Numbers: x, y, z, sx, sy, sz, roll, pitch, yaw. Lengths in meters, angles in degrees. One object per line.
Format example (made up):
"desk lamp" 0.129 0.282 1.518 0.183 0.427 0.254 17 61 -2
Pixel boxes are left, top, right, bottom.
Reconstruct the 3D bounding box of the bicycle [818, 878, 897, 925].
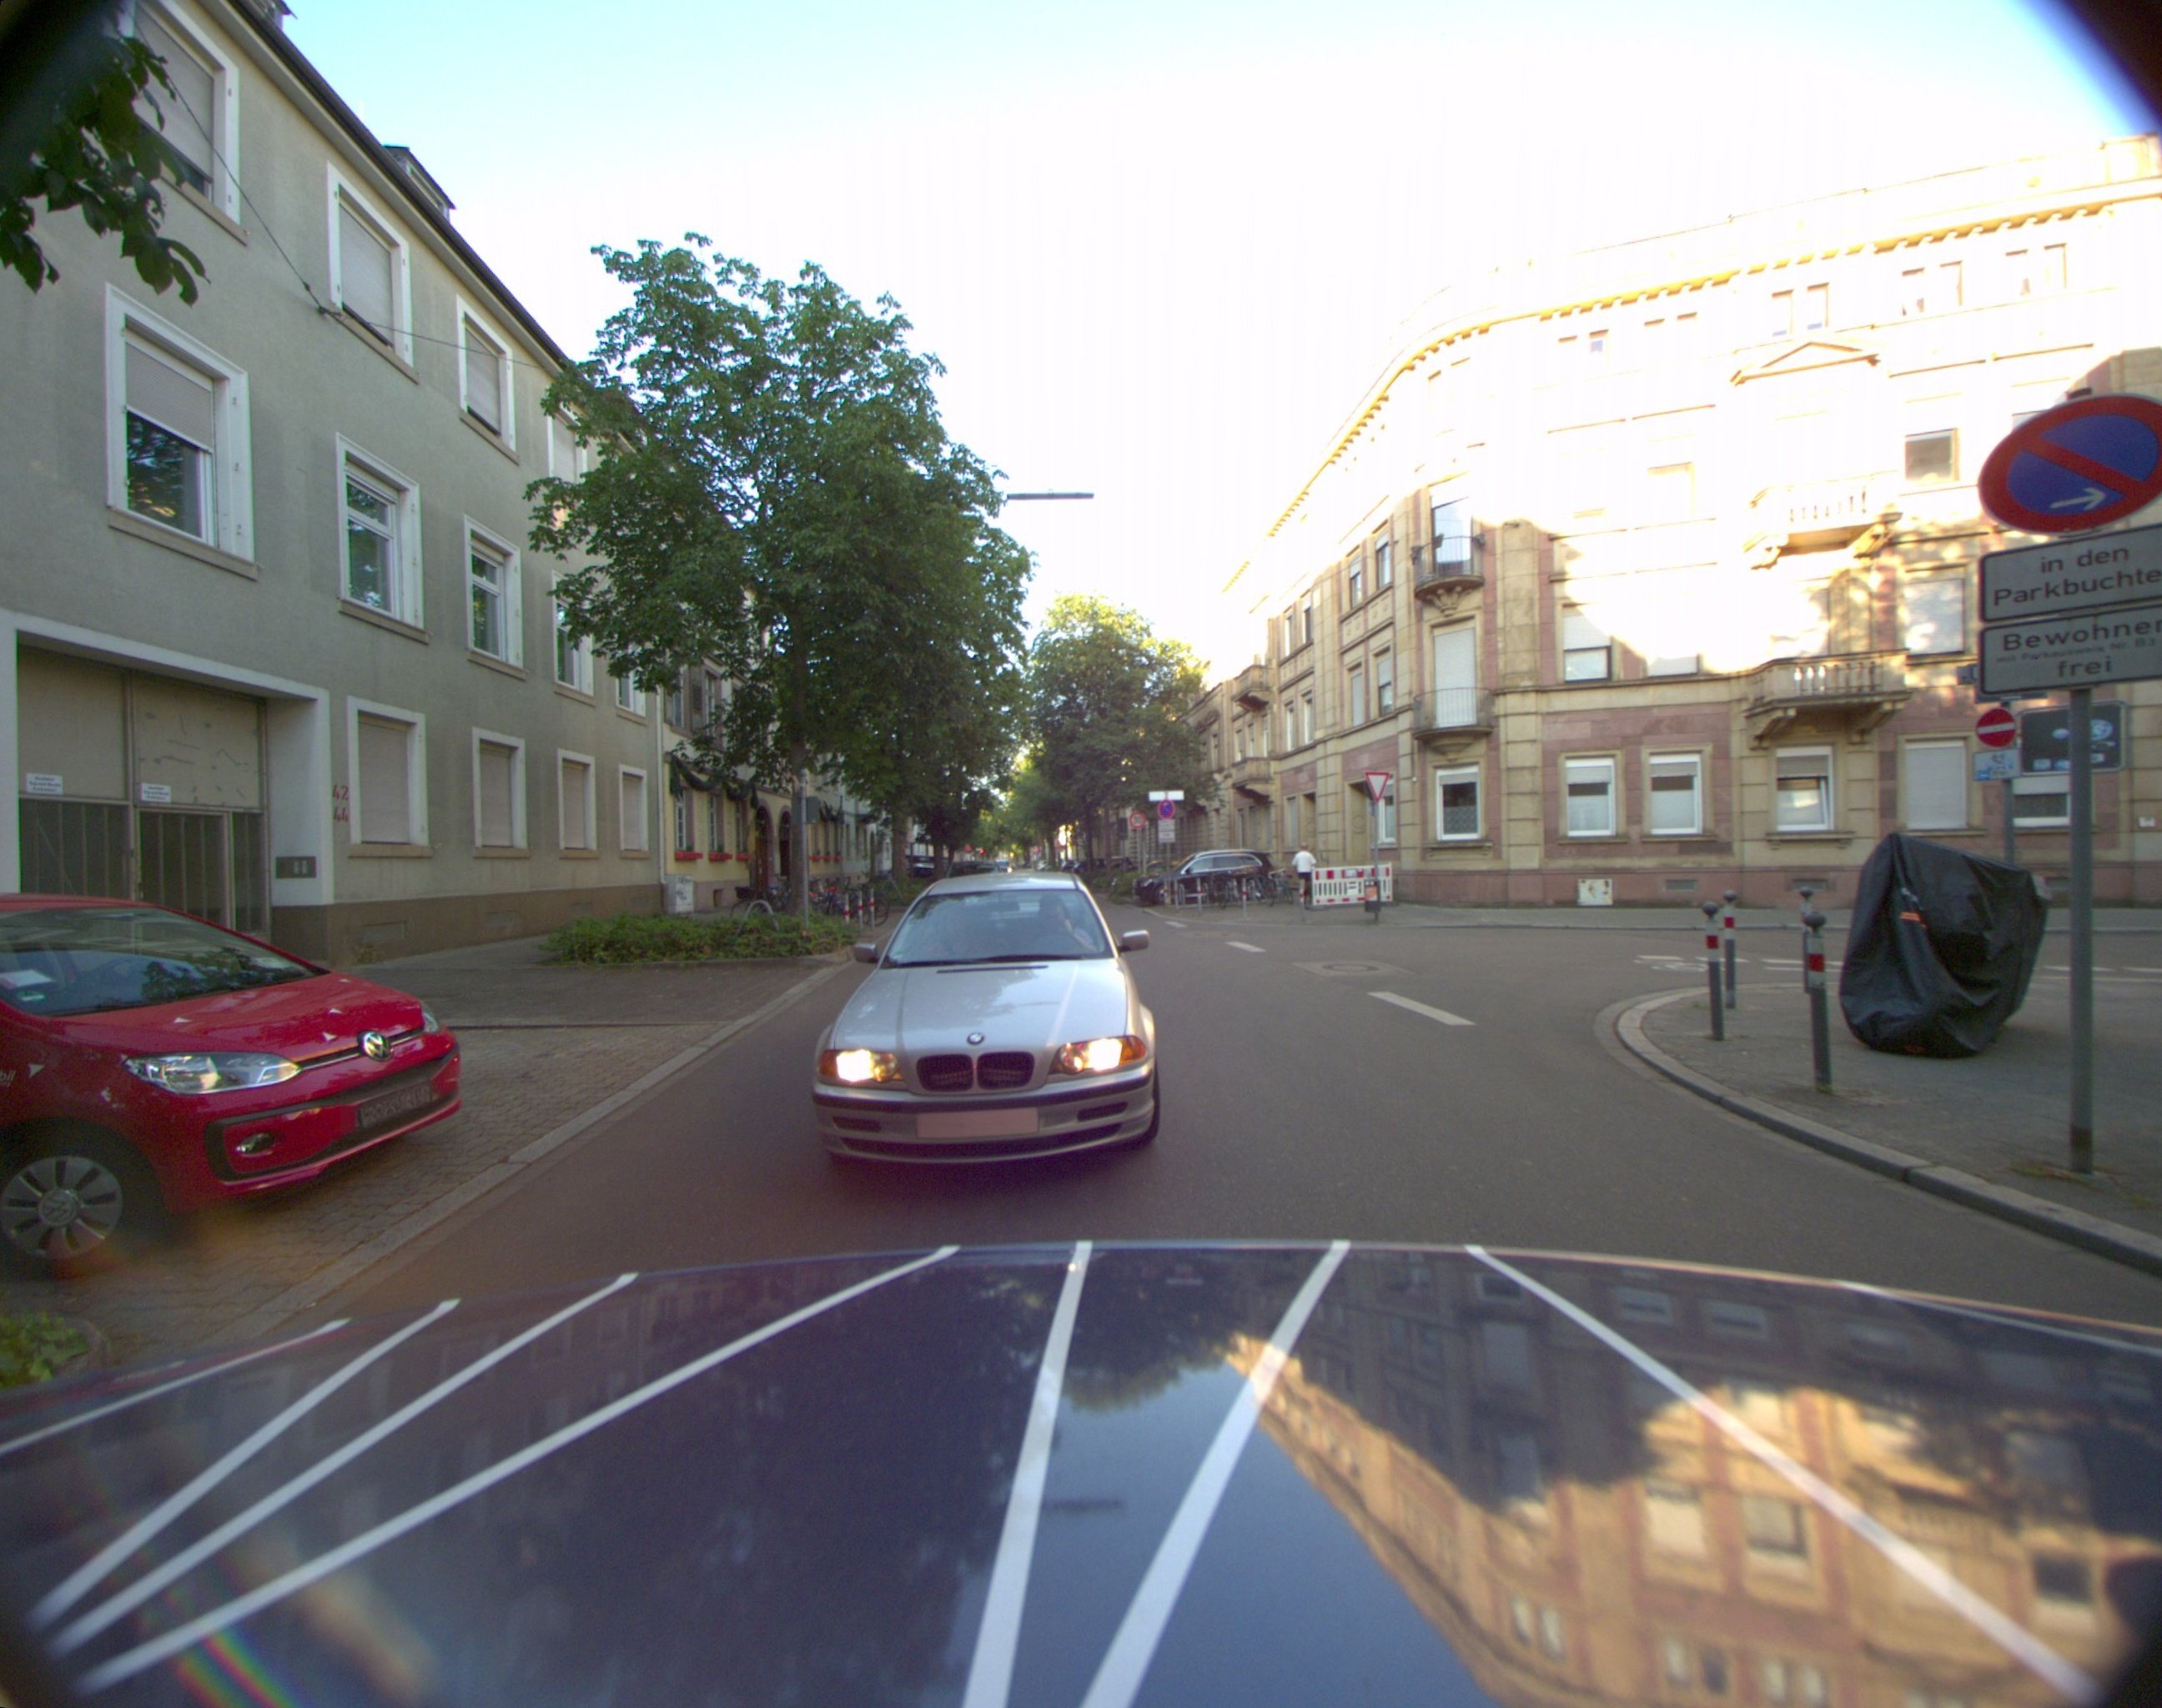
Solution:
"bicycle" -6.128 1.287 20.921 2.029 1.220 0.535 -1 0 -11

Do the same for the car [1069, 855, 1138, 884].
"car" 1.406 0.961 48.383 4.245 1.749 1.741 -1 0 -5

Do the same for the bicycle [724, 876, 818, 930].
"bicycle" -7.494 1.183 18.453 2.030 1.220 0.535 -1 0 -16

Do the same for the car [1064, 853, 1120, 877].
"car" 0.859 0.871 60.853 4.245 1.749 1.741 -1 0 -5

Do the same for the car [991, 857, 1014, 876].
"car" -6.587 1.014 64.264 1.806 1.543 3.998 -1 0 -5

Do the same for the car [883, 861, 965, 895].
"car" -8.558 1.278 41.671 4.245 1.729 1.741 -1 0 -6

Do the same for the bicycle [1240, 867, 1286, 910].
"bicycle" 5.175 0.961 21.773 0.562 1.144 2.038 -1 0 -8

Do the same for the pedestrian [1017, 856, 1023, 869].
"pedestrian" -8.637 1.162 107.213 0.712 1.843 0.676 -1 1 -13

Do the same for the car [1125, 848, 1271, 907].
"car" 3.724 0.736 24.662 4.423 1.771 1.741 -1 0 -2

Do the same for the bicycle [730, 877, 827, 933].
"bicycle" -7.034 1.173 17.750 2.030 1.220 0.535 -1 0 -16

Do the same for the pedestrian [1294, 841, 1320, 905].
"pedestrian" 6.439 0.535 21.663 0.572 1.797 0.651 -1 1 9

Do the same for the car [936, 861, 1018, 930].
"car" -2.614 0.984 19.852 1.806 1.543 3.998 -1 0 -4

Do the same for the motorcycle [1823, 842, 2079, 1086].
"motorcycle" 6.497 0.679 5.640 2.286 1.496 0.816 -1 1 -30

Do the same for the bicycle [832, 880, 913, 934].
"bicycle" -5.037 1.258 18.400 1.849 1.220 0.535 -1 0 -16

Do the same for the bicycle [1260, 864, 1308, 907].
"bicycle" 5.794 0.882 21.822 0.562 1.144 2.038 -1 0 -8

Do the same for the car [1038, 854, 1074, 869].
"car" -3.020 0.902 92.537 4.245 1.749 1.741 -1 0 -5

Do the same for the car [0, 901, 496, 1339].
"car" -5.165 1.043 3.430 3.621 1.468 1.663 -1 0 -7

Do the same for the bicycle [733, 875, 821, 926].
"bicycle" -7.815 1.182 19.599 2.029 1.220 0.535 -1 0 -13

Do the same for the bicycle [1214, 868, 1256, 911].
"bicycle" 4.382 0.984 21.731 0.562 1.144 2.038 -1 0 -6

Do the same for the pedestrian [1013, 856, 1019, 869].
"pedestrian" -9.264 1.190 107.822 0.712 1.843 0.676 -1 1 -13

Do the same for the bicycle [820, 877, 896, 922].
"bicycle" -6.370 1.287 21.791 2.029 1.220 0.535 -1 0 -11

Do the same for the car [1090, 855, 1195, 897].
"car" 2.528 0.901 32.090 4.243 1.668 1.742 -1 0 -1

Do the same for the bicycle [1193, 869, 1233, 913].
"bicycle" 3.743 1.028 21.662 0.562 1.144 2.038 -1 0 -6

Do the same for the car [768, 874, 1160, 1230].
"car" -0.489 0.942 5.595 1.711 1.433 4.436 -1 0 1

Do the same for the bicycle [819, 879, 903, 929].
"bicycle" -5.661 1.284 19.640 2.029 1.220 0.535 -1 0 -11
